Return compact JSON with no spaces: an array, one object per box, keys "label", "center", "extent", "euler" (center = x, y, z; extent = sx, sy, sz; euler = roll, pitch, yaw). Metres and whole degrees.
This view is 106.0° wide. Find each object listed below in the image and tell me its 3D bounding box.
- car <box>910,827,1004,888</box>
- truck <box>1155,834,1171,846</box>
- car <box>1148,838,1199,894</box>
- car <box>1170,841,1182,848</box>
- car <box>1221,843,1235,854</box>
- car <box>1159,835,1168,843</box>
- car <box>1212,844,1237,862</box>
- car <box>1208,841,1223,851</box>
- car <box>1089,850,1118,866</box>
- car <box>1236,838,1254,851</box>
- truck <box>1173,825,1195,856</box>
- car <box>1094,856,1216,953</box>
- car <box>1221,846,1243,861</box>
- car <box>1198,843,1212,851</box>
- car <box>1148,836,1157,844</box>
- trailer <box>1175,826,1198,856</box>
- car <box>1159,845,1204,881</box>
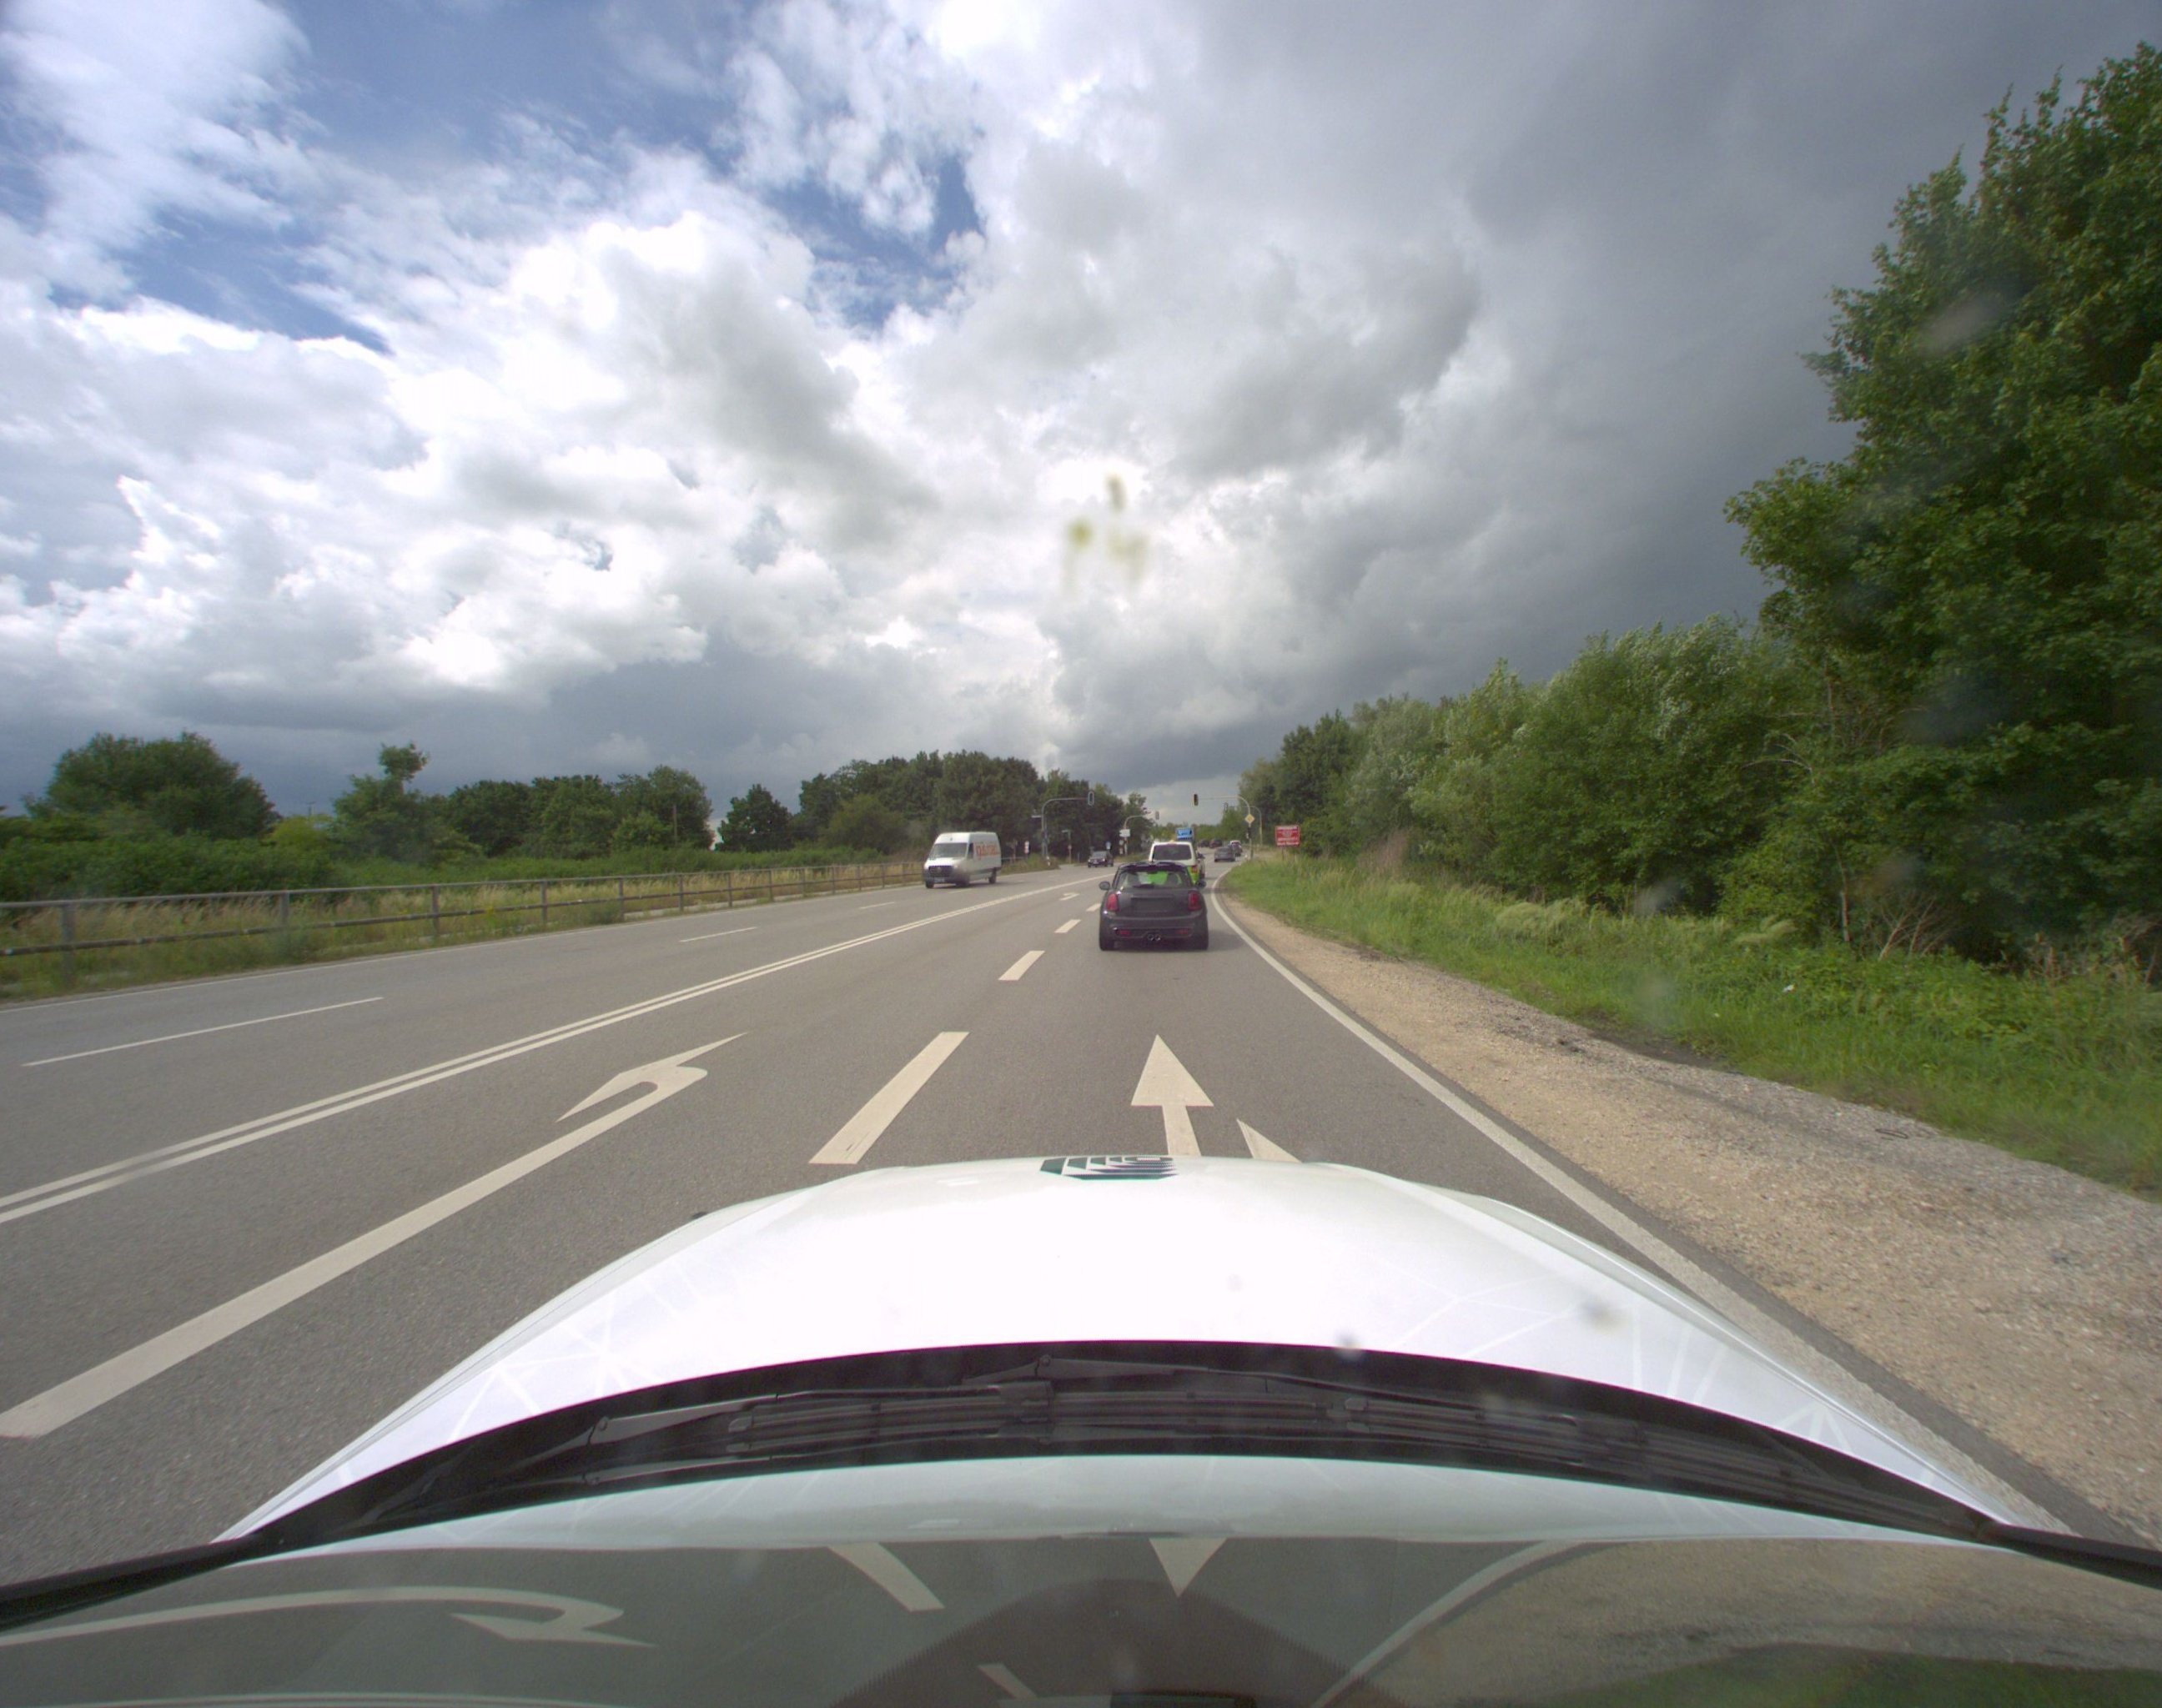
[{"label":"car","center":[-5.914,0.163,40.094],"extent":[2.419,2.674,6.907],"euler":[-1,0,10]},{"label":"truck","center":[21.931,-3.662,218.072],"extent":[2.711,2.898,8.759],"euler":[-1,-1,-3]},{"label":"car","center":[3.620,0.421,31.541],"extent":[1.835,1.987,3.849],"euler":[-1,1,8]},{"label":"car","center":[23.246,-2.325,199.590],"extent":[1.989,1.787,4.481],"euler":[-2,0,-3]},{"label":"car","center":[24.099,-0.880,133.699],"extent":[1.983,1.684,4.006],"euler":[0,-1,6]},{"label":"car","center":[24.175,-4.344,238.950],"extent":[2.174,2.014,3.997],"euler":[-1,-1,-1]},{"label":"car","center":[13.761,-0.072,78.092],"extent":[1.979,1.684,4.016],"euler":[0,-1,15]},{"label":"car","center":[24.857,-1.469,150.485],"extent":[1.988,1.695,4.483],"euler":[-1,0,-1]},{"label":"car","center":[2.095,0.342,74.358],"extent":[1.933,1.441,4.014],"euler":[-1,0,13]},{"label":"car","center":[22.715,-1.265,112.521],"extent":[1.978,1.684,4.017],"euler":[0,-1,17]},{"label":"truck","center":[14.391,-1.834,113.438],"extent":[2.522,4.096,4.014],"euler":[-1,0,13]},{"label":"car","center":[1.221,0.781,14.355],"extent":[1.837,1.428,3.844],"euler":[-1,0,3]},{"label":"car","center":[17.758,-0.031,95.562],"extent":[1.978,1.684,3.995],"euler":[-1,-1,18]},{"label":"car","center":[25.488,-1.422,167.540],"extent":[1.989,1.695,4.480],"euler":[-1,0,-3]},{"label":"car","center":[16.986,-3.397,194.040],"extent":[1.986,1.690,4.002],"euler":[-2,1,2]},{"label":"trailer","center":[15.077,-1.850,116.390],"extent":[2.510,4.100,6.759],"euler":[-1,0,13]},{"label":"car","center":[5.102,0.453,40.961],"extent":[1.981,1.684,4.011],"euler":[-2,-1,10]}]
